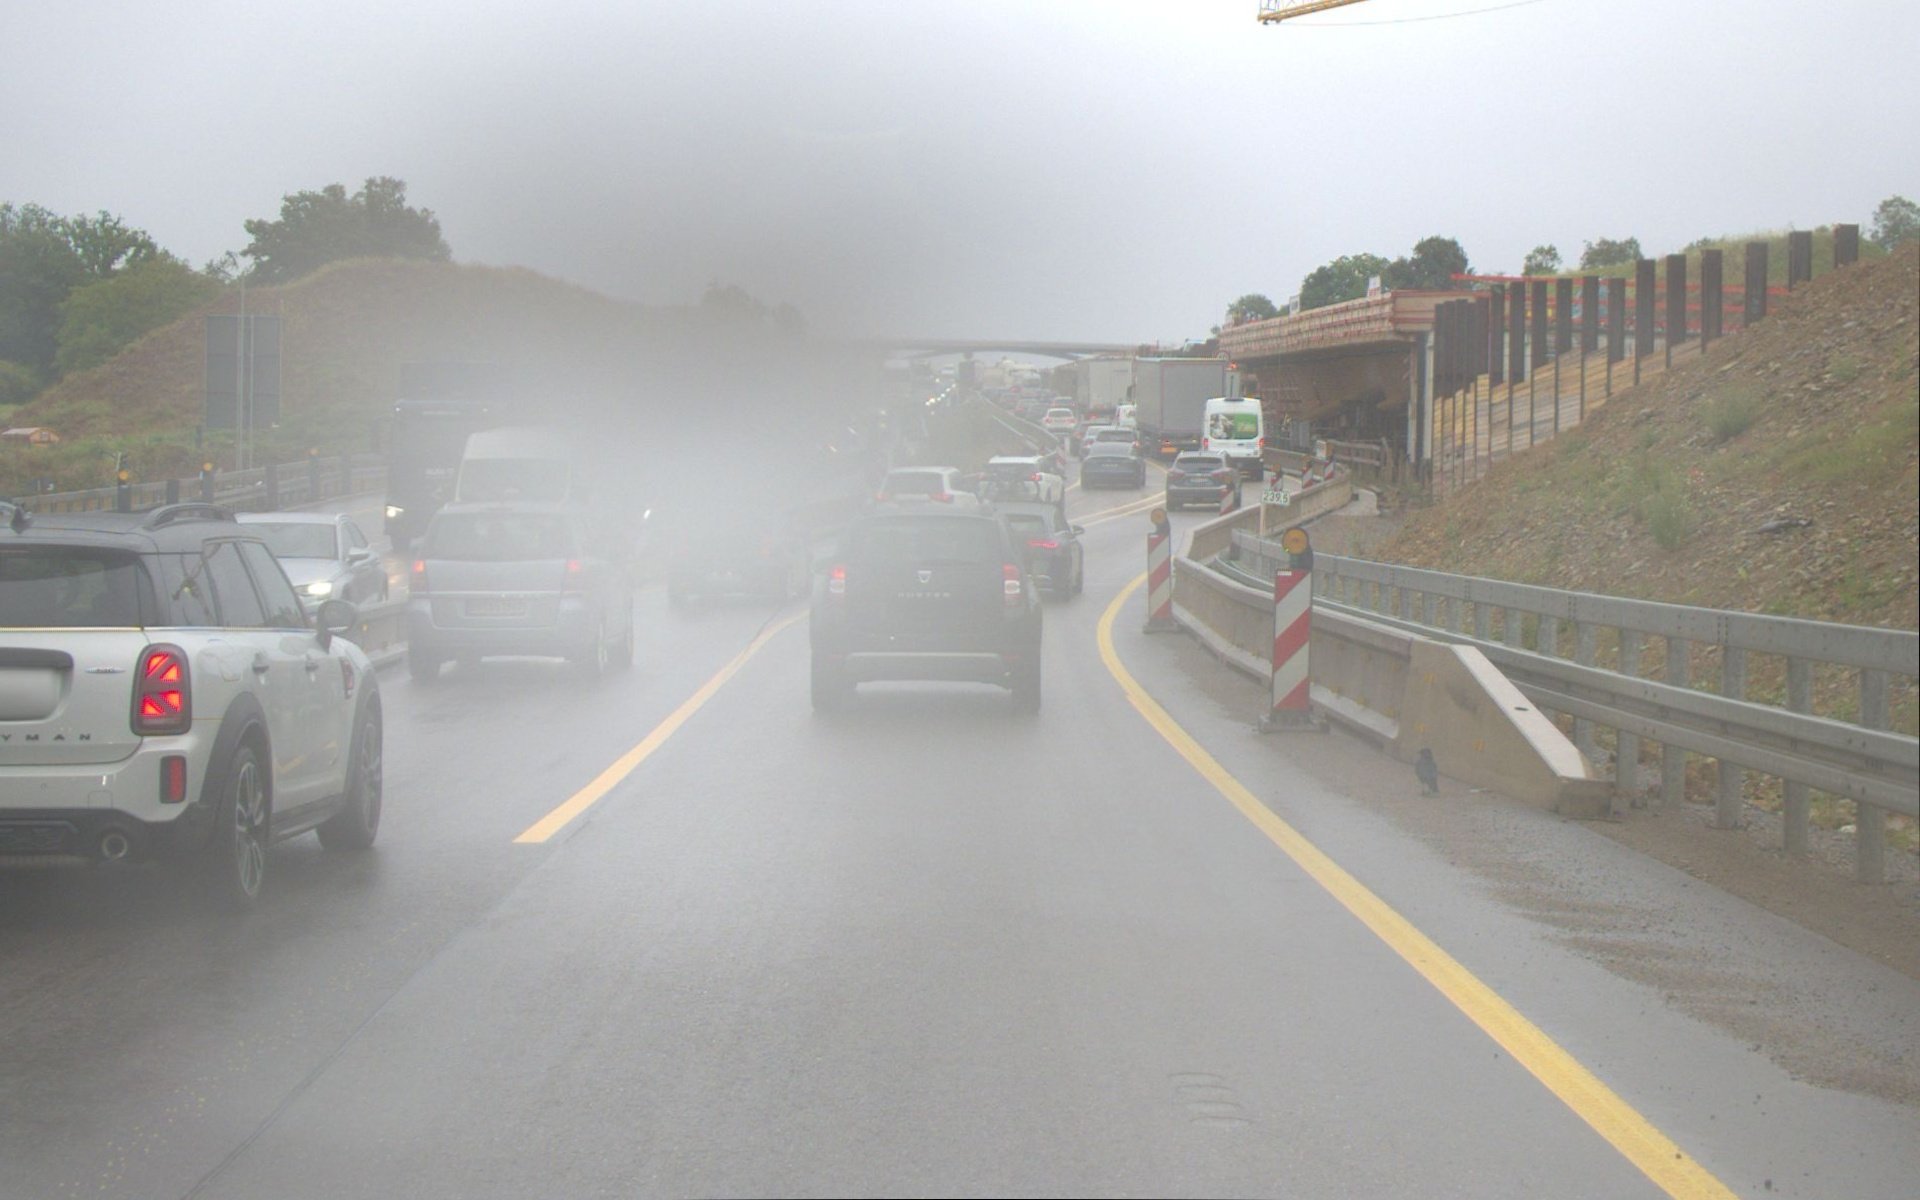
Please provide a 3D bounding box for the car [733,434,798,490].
[{"bbox_3d":[-6.098,-4.349,108.417,1.737,1.678,5.552,1,2,0],"label":"car"}]

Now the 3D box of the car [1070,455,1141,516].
[{"bbox_3d":[4.504,-3.546,106.835,1.993,1.755,3.815,0,0,0],"label":"car"}]

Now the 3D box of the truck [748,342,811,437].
[{"bbox_3d":[-10.830,-12.597,206.773,3.142,5.399,8.524,1,2,1],"label":"truck"}]

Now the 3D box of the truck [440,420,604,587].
[{"bbox_3d":[-7.477,-1.655,59.235,2.147,2.704,6.017,1,2,-1],"label":"truck"}]

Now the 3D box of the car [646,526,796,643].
[{"bbox_3d":[-3.396,-0.212,49.494,1.993,1.595,4.141,0,0,-2],"label":"car"}]

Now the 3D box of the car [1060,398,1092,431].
[{"bbox_3d":[7.958,-12.723,235.521,1.993,2.007,4.000,0,0,-1],"label":"car"}]

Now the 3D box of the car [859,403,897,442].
[{"bbox_3d":[-5.260,-11.366,220.602,2.238,2.350,4.877,1,2,1],"label":"car"}]

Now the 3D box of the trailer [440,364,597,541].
[{"bbox_3d":[-10.457,-3.518,82.311,2.746,3.956,9.676,0,2,-1],"label":"trailer"}]

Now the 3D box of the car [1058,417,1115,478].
[{"bbox_3d":[4.855,-5.809,131.370,1.994,2.155,4.140,0,0,5],"label":"car"}]

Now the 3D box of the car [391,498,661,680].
[{"bbox_3d":[-4.027,-0.094,32.540,1.993,1.595,4.140,0,0,0],"label":"car"}]

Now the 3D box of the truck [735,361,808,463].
[{"bbox_3d":[-9.521,-9.485,174.396,3.083,4.902,8.564,1,2,1],"label":"truck"}]

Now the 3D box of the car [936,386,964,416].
[{"bbox_3d":[-0.710,-14.618,252.723,1.993,2.007,4.000,0,0,-1],"label":"car"}]

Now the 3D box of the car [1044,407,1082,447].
[{"bbox_3d":[5.388,-9.049,180.127,1.849,1.887,4.021,0,0,1],"label":"car"}]

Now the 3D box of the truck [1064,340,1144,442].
[{"bbox_3d":[8.166,-11.890,196.997,3.803,5.025,12.922,0,0,-1],"label":"truck"}]

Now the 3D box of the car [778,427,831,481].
[{"bbox_3d":[-5.791,-5.424,128.201,1.785,1.803,4.499,0,0,0],"label":"car"}]

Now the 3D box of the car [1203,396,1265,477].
[{"bbox_3d":[9.181,-5.436,114.993,1.994,2.476,4.981,0,0,5],"label":"car"}]

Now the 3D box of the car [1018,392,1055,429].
[{"bbox_3d":[4.411,-10.933,198.243,1.993,2.006,4.000,0,2,-1],"label":"car"}]

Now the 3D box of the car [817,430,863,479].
[{"bbox_3d":[-4.959,-6.016,142.461,1.785,1.803,4.499,0,0,0],"label":"car"}]

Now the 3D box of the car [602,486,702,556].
[{"bbox_3d":[-6.713,-1.751,75.331,1.868,1.466,4.671,0,2,-1],"label":"car"}]

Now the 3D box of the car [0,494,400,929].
[{"bbox_3d":[-3.625,0.389,14.786,1.816,1.595,4.308,0,0,-1],"label":"car"}]

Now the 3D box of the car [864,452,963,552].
[{"bbox_3d":[-0.974,-2.063,71.508,1.993,2.006,3.894,0,2,-1],"label":"car"}]

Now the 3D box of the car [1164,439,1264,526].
[{"bbox_3d":[6.789,-3.091,91.422,1.995,2.155,4.138,0,0,14],"label":"car"}]

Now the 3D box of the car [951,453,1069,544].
[{"bbox_3d":[1.294,-2.530,86.562,1.995,2.155,4.137,0,0,15],"label":"car"}]

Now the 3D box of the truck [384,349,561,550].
[{"bbox_3d":[-10.216,-3.177,72.870,2.641,3.956,9.215,0,2,-1],"label":"truck"}]

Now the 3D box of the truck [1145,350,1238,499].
[{"bbox_3d":[9.292,-6.889,137.018,3.102,5.407,9.440,0,0,7],"label":"truck"}]

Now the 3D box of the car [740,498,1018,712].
[{"bbox_3d":[-0.600,0.040,27.925,2.081,1.595,4.140,0,0,0],"label":"car"}]

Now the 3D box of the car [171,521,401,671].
[{"bbox_3d":[-7.198,-0.092,37.087,1.676,1.518,4.345,0,1,-1],"label":"car"}]
